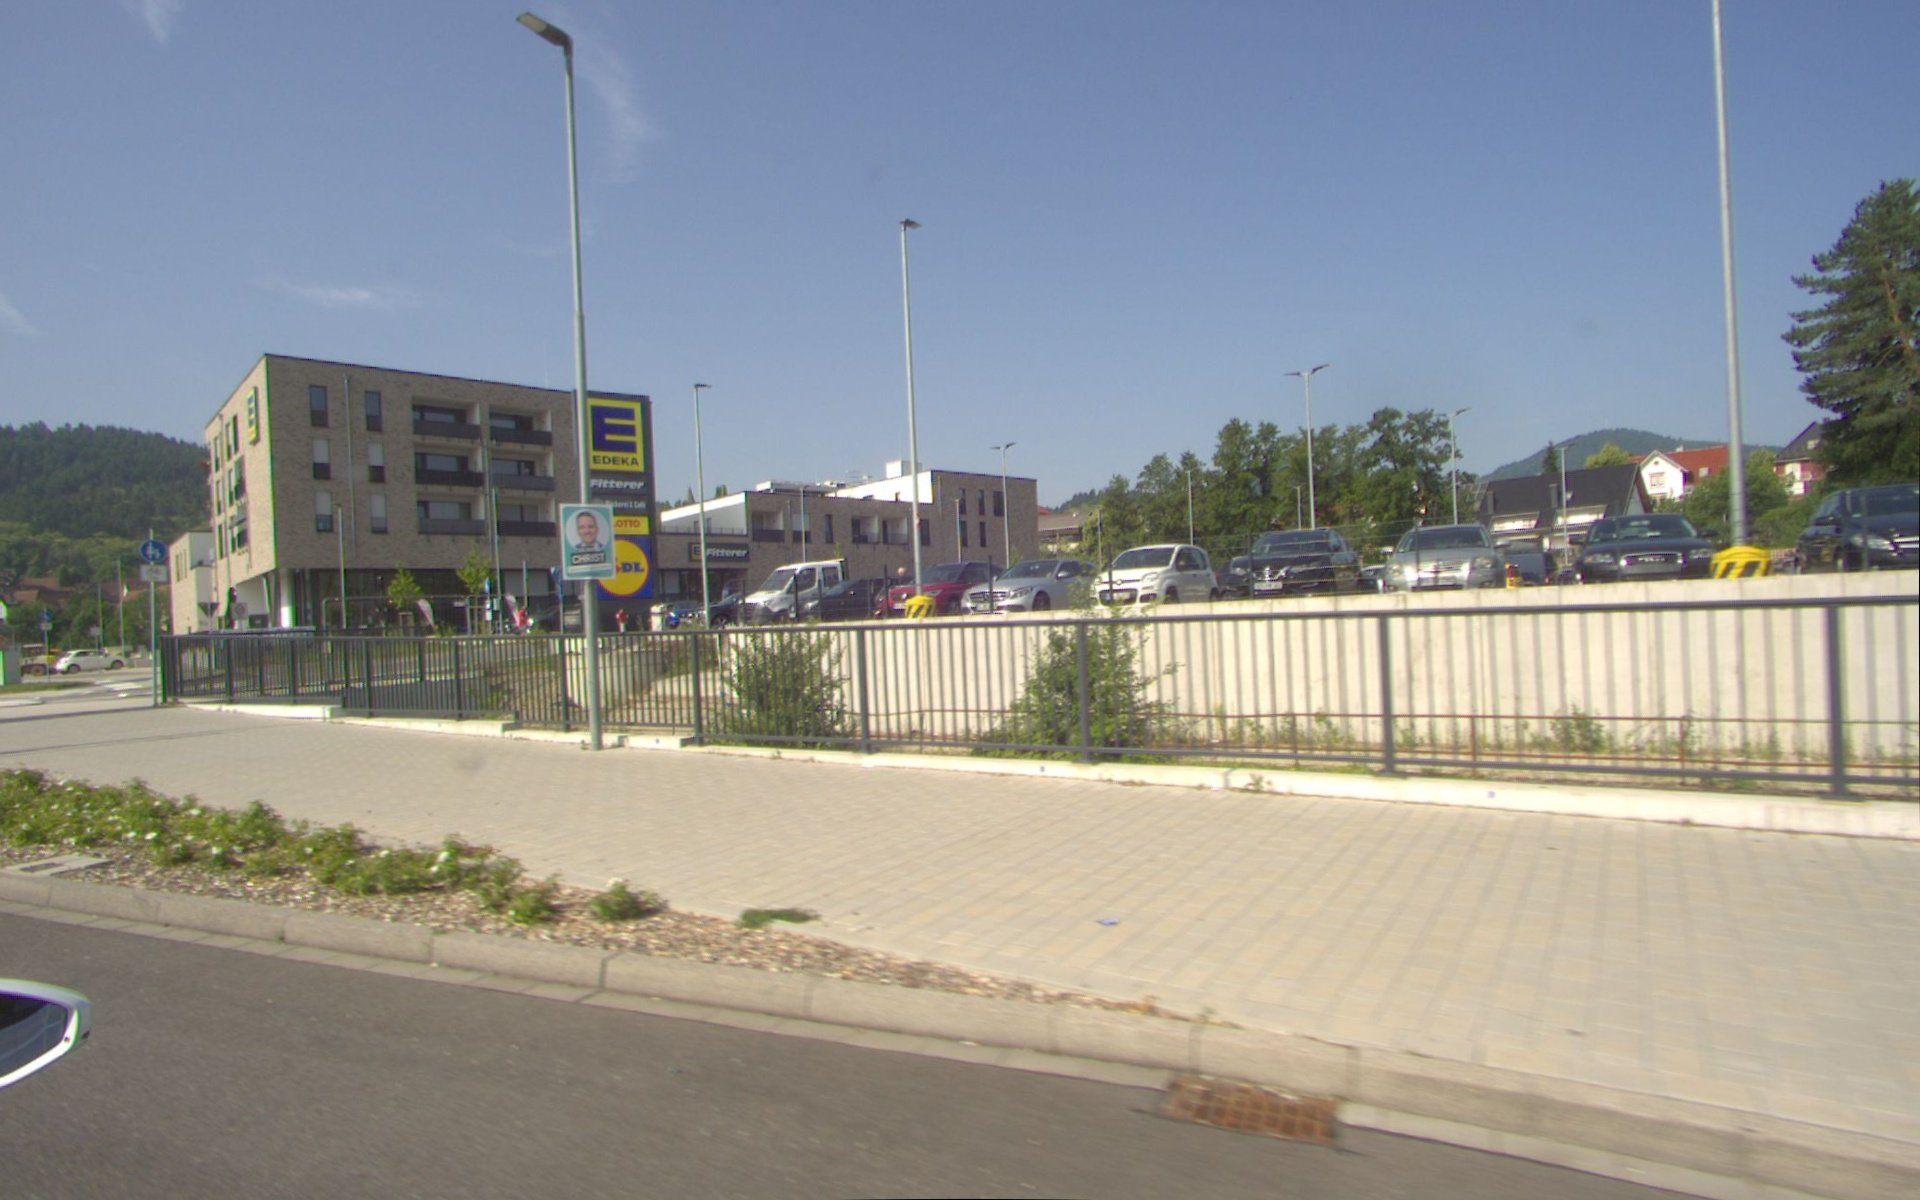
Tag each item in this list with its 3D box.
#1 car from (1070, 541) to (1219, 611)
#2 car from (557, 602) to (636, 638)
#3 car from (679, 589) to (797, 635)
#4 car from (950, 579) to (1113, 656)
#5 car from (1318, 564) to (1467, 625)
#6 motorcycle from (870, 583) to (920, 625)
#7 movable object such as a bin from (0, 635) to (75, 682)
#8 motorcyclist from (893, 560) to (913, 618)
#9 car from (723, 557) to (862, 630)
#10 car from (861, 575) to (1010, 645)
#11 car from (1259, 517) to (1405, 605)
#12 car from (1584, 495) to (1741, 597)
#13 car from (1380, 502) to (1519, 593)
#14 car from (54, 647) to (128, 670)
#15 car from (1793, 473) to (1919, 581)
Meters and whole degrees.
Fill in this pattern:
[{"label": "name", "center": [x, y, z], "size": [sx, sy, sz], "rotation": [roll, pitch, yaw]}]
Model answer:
[{"label": "car", "center": [3.772, -0.459, 20.034], "size": [1.690, 1.215, 3.547], "rotation": [-2, 0, 33]}, {"label": "car", "center": [-18.754, 1.011, 51.719], "size": [3.464, 1.614, 1.472], "rotation": [-3, 0, -45]}, {"label": "car", "center": [-8.304, 0.445, 37.576], "size": [3.947, 1.466, 1.667], "rotation": [-3, 0, -35]}, {"label": "car", "center": [1.650, 0.341, 21.878], "size": [1.694, 1.506, 4.044], "rotation": [-2, 0, 35]}, {"label": "car", "center": [13.355, -0.159, 31.050], "size": [3.876, 1.630, 1.594], "rotation": [-4, 0, 43]}, {"label": "motorcycle", "center": [-1.782, 0.103, 27.478], "size": [1.264, 1.060, 0.559], "rotation": [-3, 0, 3]}, {"label": "movable object such as a bin", "center": [-40.580, 2.555, 43.930], "size": [1.413, 1.868, 2.430], "rotation": [-3, 0, 41]}, {"label": "motorcyclist", "center": [-1.551, -0.288, 27.405], "size": [0.423, 1.552, 0.454], "rotation": [-3, 0, 2]}, {"label": "car", "center": [-5.467, -0.221, 32.796], "size": [3.949, 2.164, 1.987], "rotation": [-3, 0, -36]}, {"label": "car", "center": [-0.491, 0.215, 22.978], "size": [1.687, 1.449, 3.547], "rotation": [-2, 0, 33]}, {"label": "car", "center": [6.843, -0.651, 18.182], "size": [1.637, 1.360, 4.027], "rotation": [-2, 0, 33]}, {"label": "car", "center": [10.527, -0.730, 15.236], "size": [1.705, 1.262, 3.957], "rotation": [-2, 0, 32]}, {"label": "car", "center": [8.315, -0.787, 16.805], "size": [1.641, 1.262, 4.269], "rotation": [-2, 0, 32]}, {"label": "car", "center": [-57.644, 3.871, 66.454], "size": [1.449, 1.320, 3.464], "rotation": [-2, 0, 34]}, {"label": "car", "center": [12.952, -0.936, 13.770], "size": [1.719, 1.262, 4.204], "rotation": [-2, 0, 32]}]
